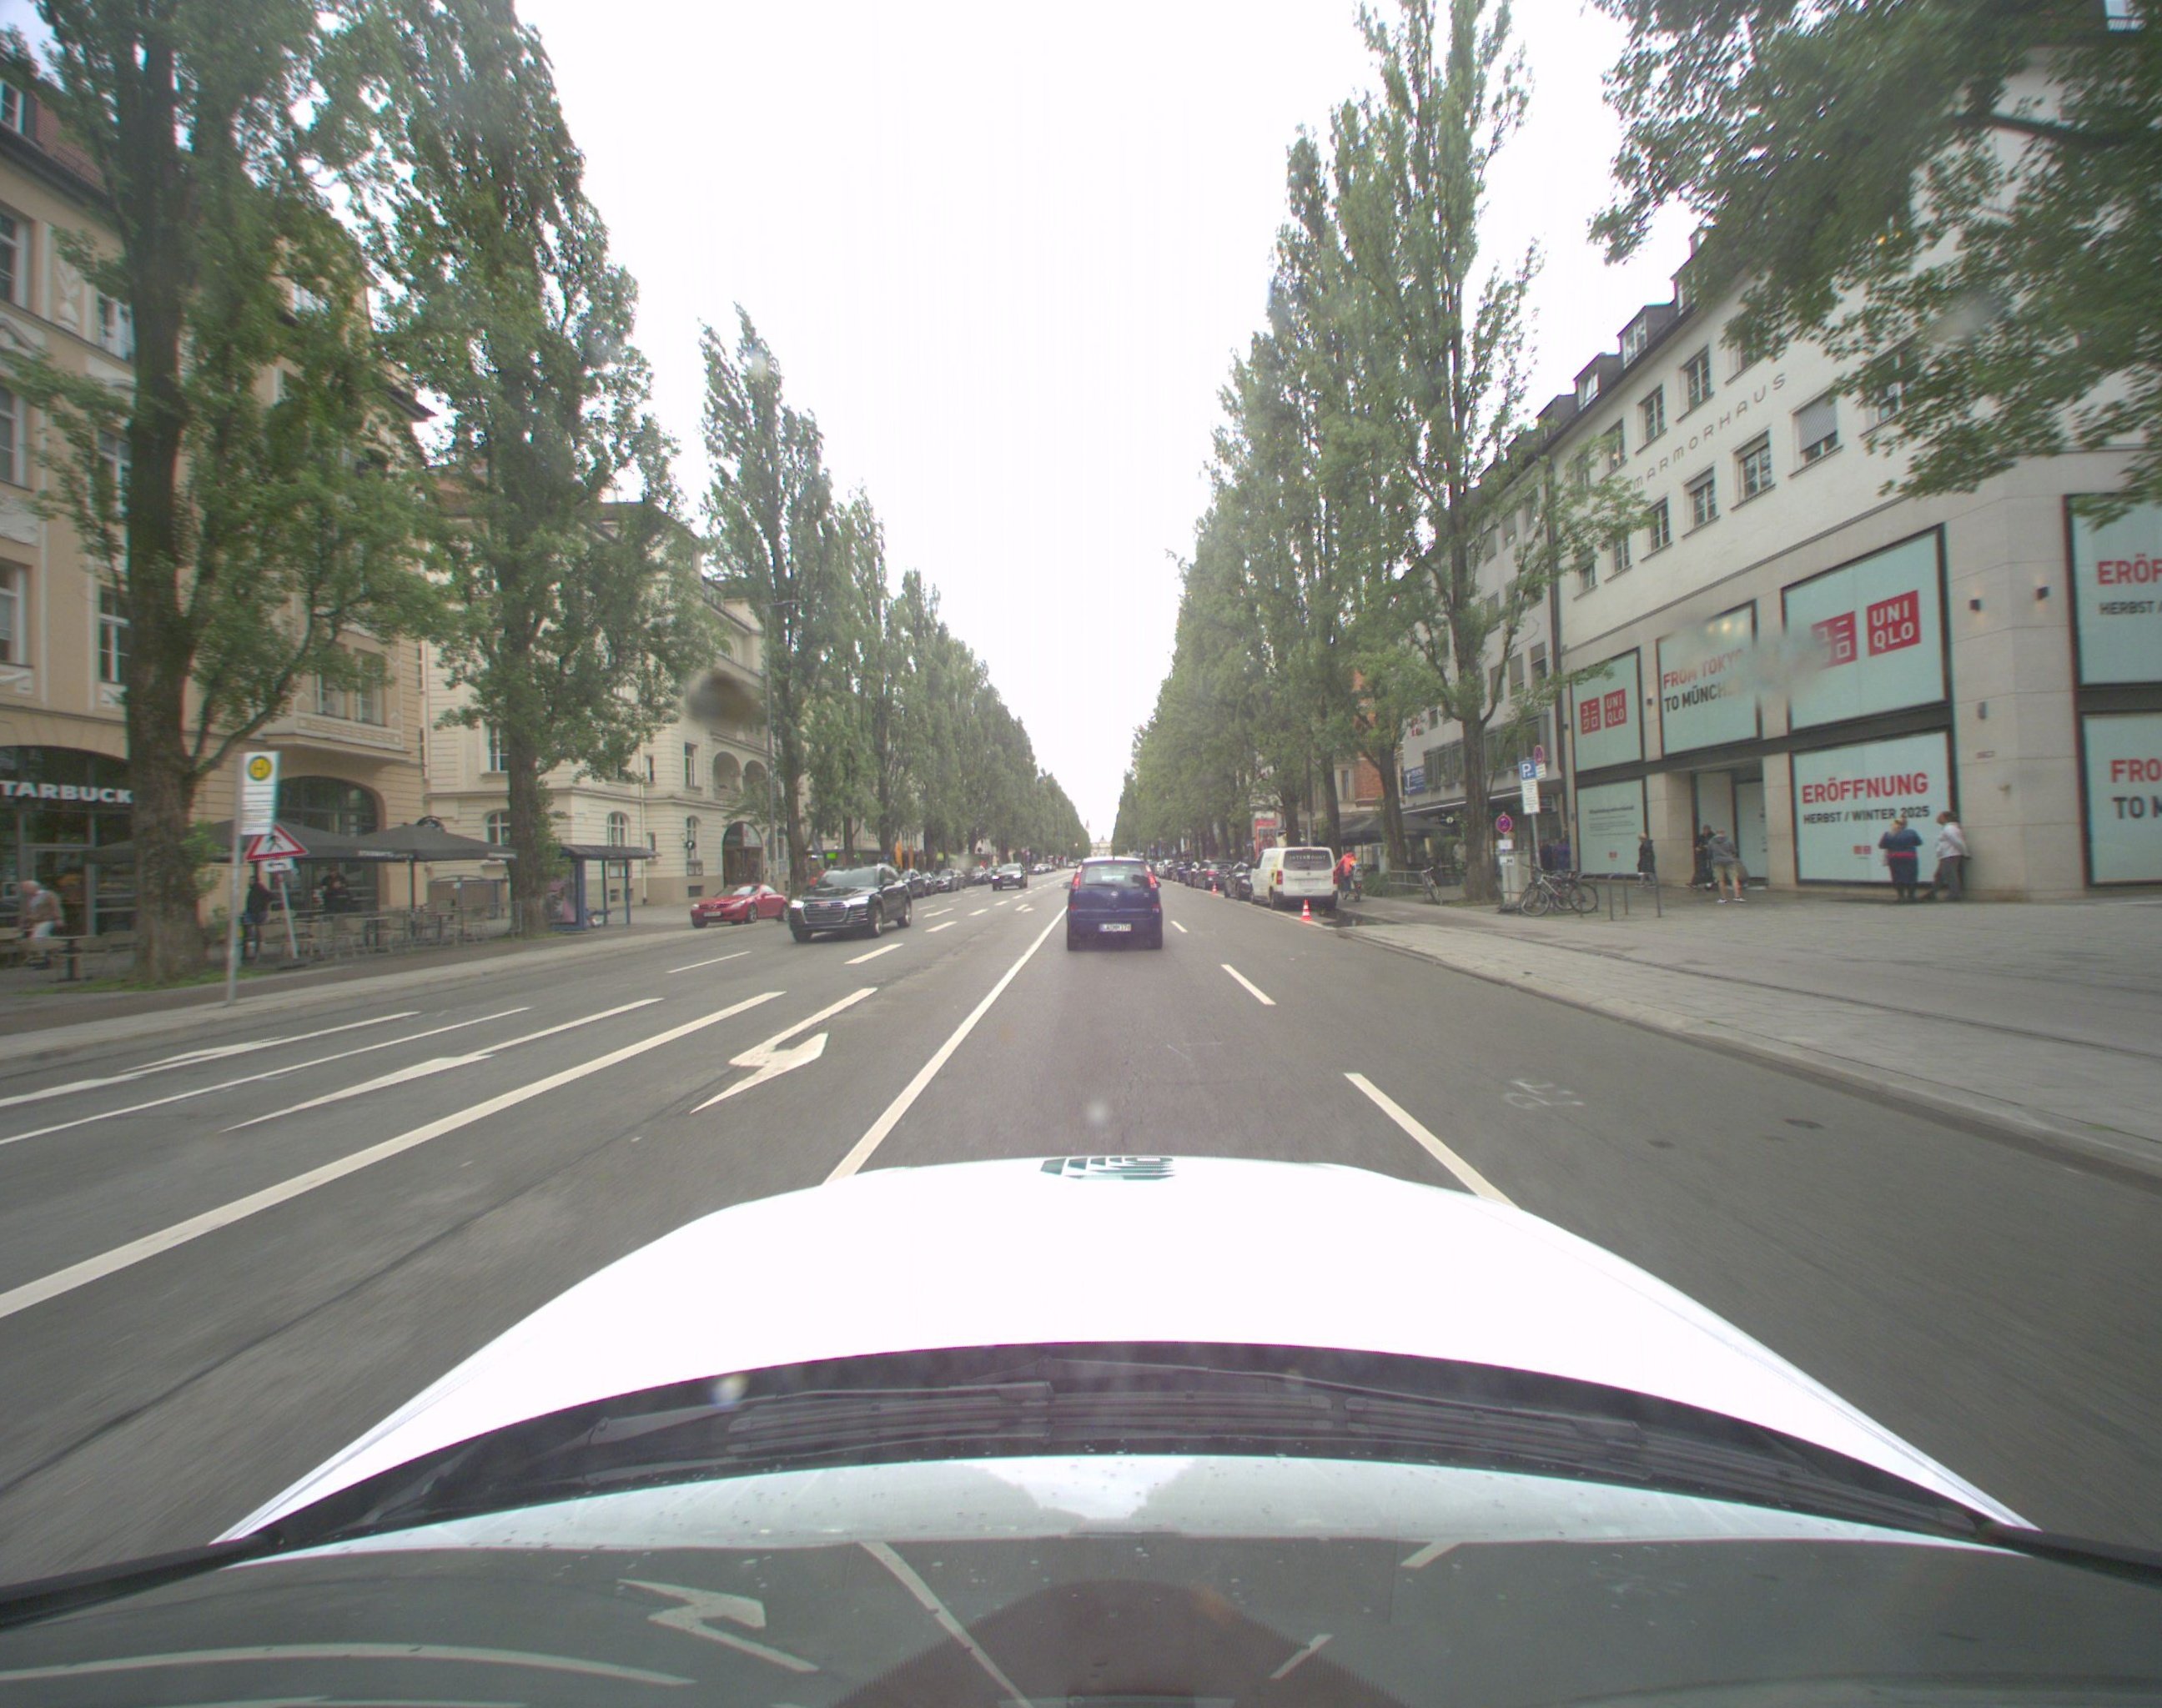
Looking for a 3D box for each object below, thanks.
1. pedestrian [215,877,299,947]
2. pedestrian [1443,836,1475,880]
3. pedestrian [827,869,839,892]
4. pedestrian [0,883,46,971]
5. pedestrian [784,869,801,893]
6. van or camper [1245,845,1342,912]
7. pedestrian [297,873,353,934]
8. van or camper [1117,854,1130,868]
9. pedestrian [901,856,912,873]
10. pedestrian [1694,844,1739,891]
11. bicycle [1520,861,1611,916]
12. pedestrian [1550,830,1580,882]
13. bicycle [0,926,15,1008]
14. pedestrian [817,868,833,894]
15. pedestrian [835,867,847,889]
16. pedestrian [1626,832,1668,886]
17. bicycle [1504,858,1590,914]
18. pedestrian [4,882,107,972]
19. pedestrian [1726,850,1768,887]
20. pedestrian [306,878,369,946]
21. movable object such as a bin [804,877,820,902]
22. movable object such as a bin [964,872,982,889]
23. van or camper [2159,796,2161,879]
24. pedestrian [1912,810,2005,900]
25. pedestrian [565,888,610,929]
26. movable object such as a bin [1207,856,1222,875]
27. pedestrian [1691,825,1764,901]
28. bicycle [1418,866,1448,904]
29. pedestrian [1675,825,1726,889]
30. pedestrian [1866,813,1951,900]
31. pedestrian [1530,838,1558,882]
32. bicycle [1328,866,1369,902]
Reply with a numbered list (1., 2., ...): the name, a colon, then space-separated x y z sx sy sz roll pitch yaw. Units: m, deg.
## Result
1. pedestrian: -20.643 1.435 20.432 1.077 1.685 0.990 -1 -1 2
2. pedestrian: 16.093 0.177 34.675 0.822 1.841 1.100 -2 -1 4
3. pedestrian: -19.197 2.019 62.987 0.623 1.721 0.827 -2 -1 0
4. pedestrian: -21.800 1.459 16.327 0.840 1.744 0.955 -1 -1 2
5. pedestrian: -18.704 1.766 52.775 0.766 1.537 0.805 -1 -1 1
6. van or camper: 6.568 0.720 25.785 1.862 1.883 4.904 -1 -1 1
7. pedestrian: -22.441 1.451 24.186 0.901 1.744 0.822 -2 -1 6
8. van or camper: 8.499 1.461 162.279 2.467 2.581 5.846 -2 -1 2
9. pedestrian: -18.853 1.154 87.827 0.848 1.744 1.148 -2 -1 2
10. pedestrian: 17.184 0.350 22.035 0.667 1.234 0.685 -2 0 3
11. bicycle: 10.666 0.748 17.932 1.757 1.044 0.482 -5 0 -9
12. pedestrian: 17.451 0.065 29.383 0.861 1.829 0.841 -2 -1 29
13. bicycle: -15.051 1.521 10.302 0.502 1.088 1.820 -1 -1 25
14. pedestrian: -17.309 1.811 55.121 0.731 1.673 0.953 -2 -1 1
15. pedestrian: -18.561 1.857 62.999 0.623 1.721 0.827 -2 -1 0
16. pedestrian: 17.338 0.157 24.951 0.667 1.609 0.829 -2 -1 2
17. bicycle: 10.665 0.715 18.638 1.737 1.110 0.447 -5 0 -9
18. pedestrian: -20.664 1.450 16.431 0.840 1.744 0.955 -1 -1 2
19. pedestrian: 17.945 0.386 21.943 0.568 0.969 0.672 -2 -1 3
20. pedestrian: -19.847 1.533 21.763 0.901 1.744 0.822 -1 -1 6
21. movable object such as a bin: -14.540 1.937 43.984 0.602 1.316 0.586 -2 -1 2
22. movable object such as a bin: -8.656 2.116 65.359 1.272 1.310 0.902 1 -1 1
23. van or camper: 19.974 -0.076 12.485 4.085 1.867 1.900 -1 -1 5
24. pedestrian: 17.418 0.026 16.185 0.747 1.718 0.963 -2 -1 2
25. pedestrian: -15.780 1.739 26.040 0.957 1.256 0.758 -1 -1 3
26. movable object such as a bin: 12.409 1.064 75.826 1.030 1.703 1.585 -2 -1 -2
27. pedestrian: 14.917 0.205 18.823 0.980 1.673 0.826 -2 -1 3
28. bicycle: 10.357 0.896 24.010 0.362 1.038 1.735 -2 -1 9
29. pedestrian: 17.572 0.078 23.125 0.682 1.764 0.864 -2 -1 -12
30. pedestrian: 16.518 0.060 16.276 0.649 1.663 0.963 -2 -1 2
31. pedestrian: 17.463 0.235 30.746 0.666 1.609 0.773 -1 -1 8
32. bicycle: 8.779 0.962 26.815 0.624 1.087 2.264 -2 -1 1
